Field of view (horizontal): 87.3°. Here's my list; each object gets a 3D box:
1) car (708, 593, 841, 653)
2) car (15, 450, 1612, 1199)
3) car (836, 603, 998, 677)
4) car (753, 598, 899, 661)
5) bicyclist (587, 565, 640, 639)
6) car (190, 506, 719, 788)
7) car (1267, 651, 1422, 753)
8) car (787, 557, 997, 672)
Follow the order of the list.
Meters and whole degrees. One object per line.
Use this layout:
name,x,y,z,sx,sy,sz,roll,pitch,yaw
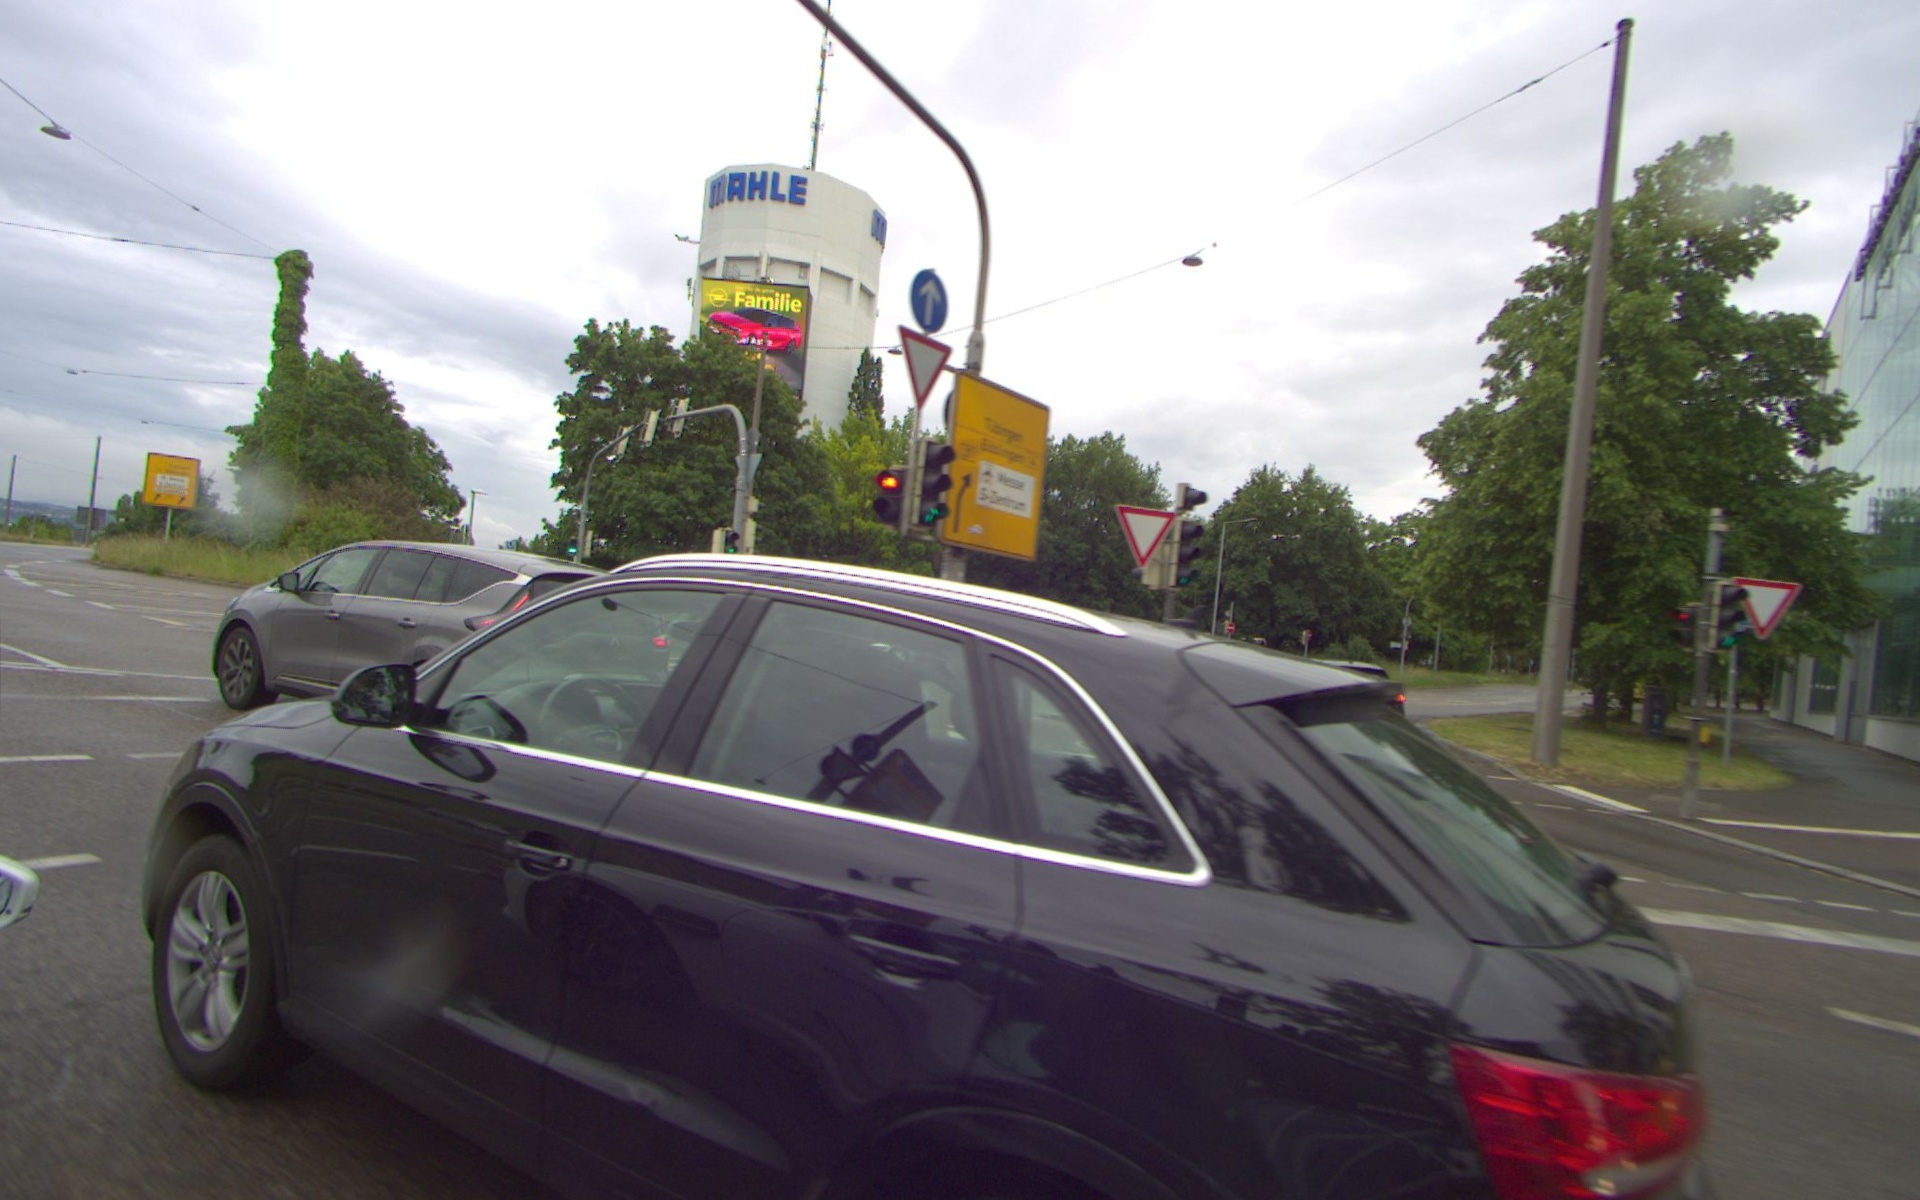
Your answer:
car,-6.494,0.817,35.388,4.111,1.582,1.853,8,-2,-38
car,-0.649,0.597,2.927,4.045,1.613,1.889,6,-3,31
car,-1.160,1.124,27.822,4.025,1.586,1.855,8,-4,-35
car,-4.343,0.982,32.916,4.342,1.537,1.714,8,-3,-35
bicyclist,-8.090,0.053,23.450,0.803,1.602,1.015,8,-2,-31
car,-4.507,0.300,8.802,4.488,1.694,1.869,7,-1,31
car,7.246,1.860,19.402,1.835,1.516,4.154,4,-1,8
car,-2.014,0.522,30.821,5.969,2.772,2.065,8,-3,-32
